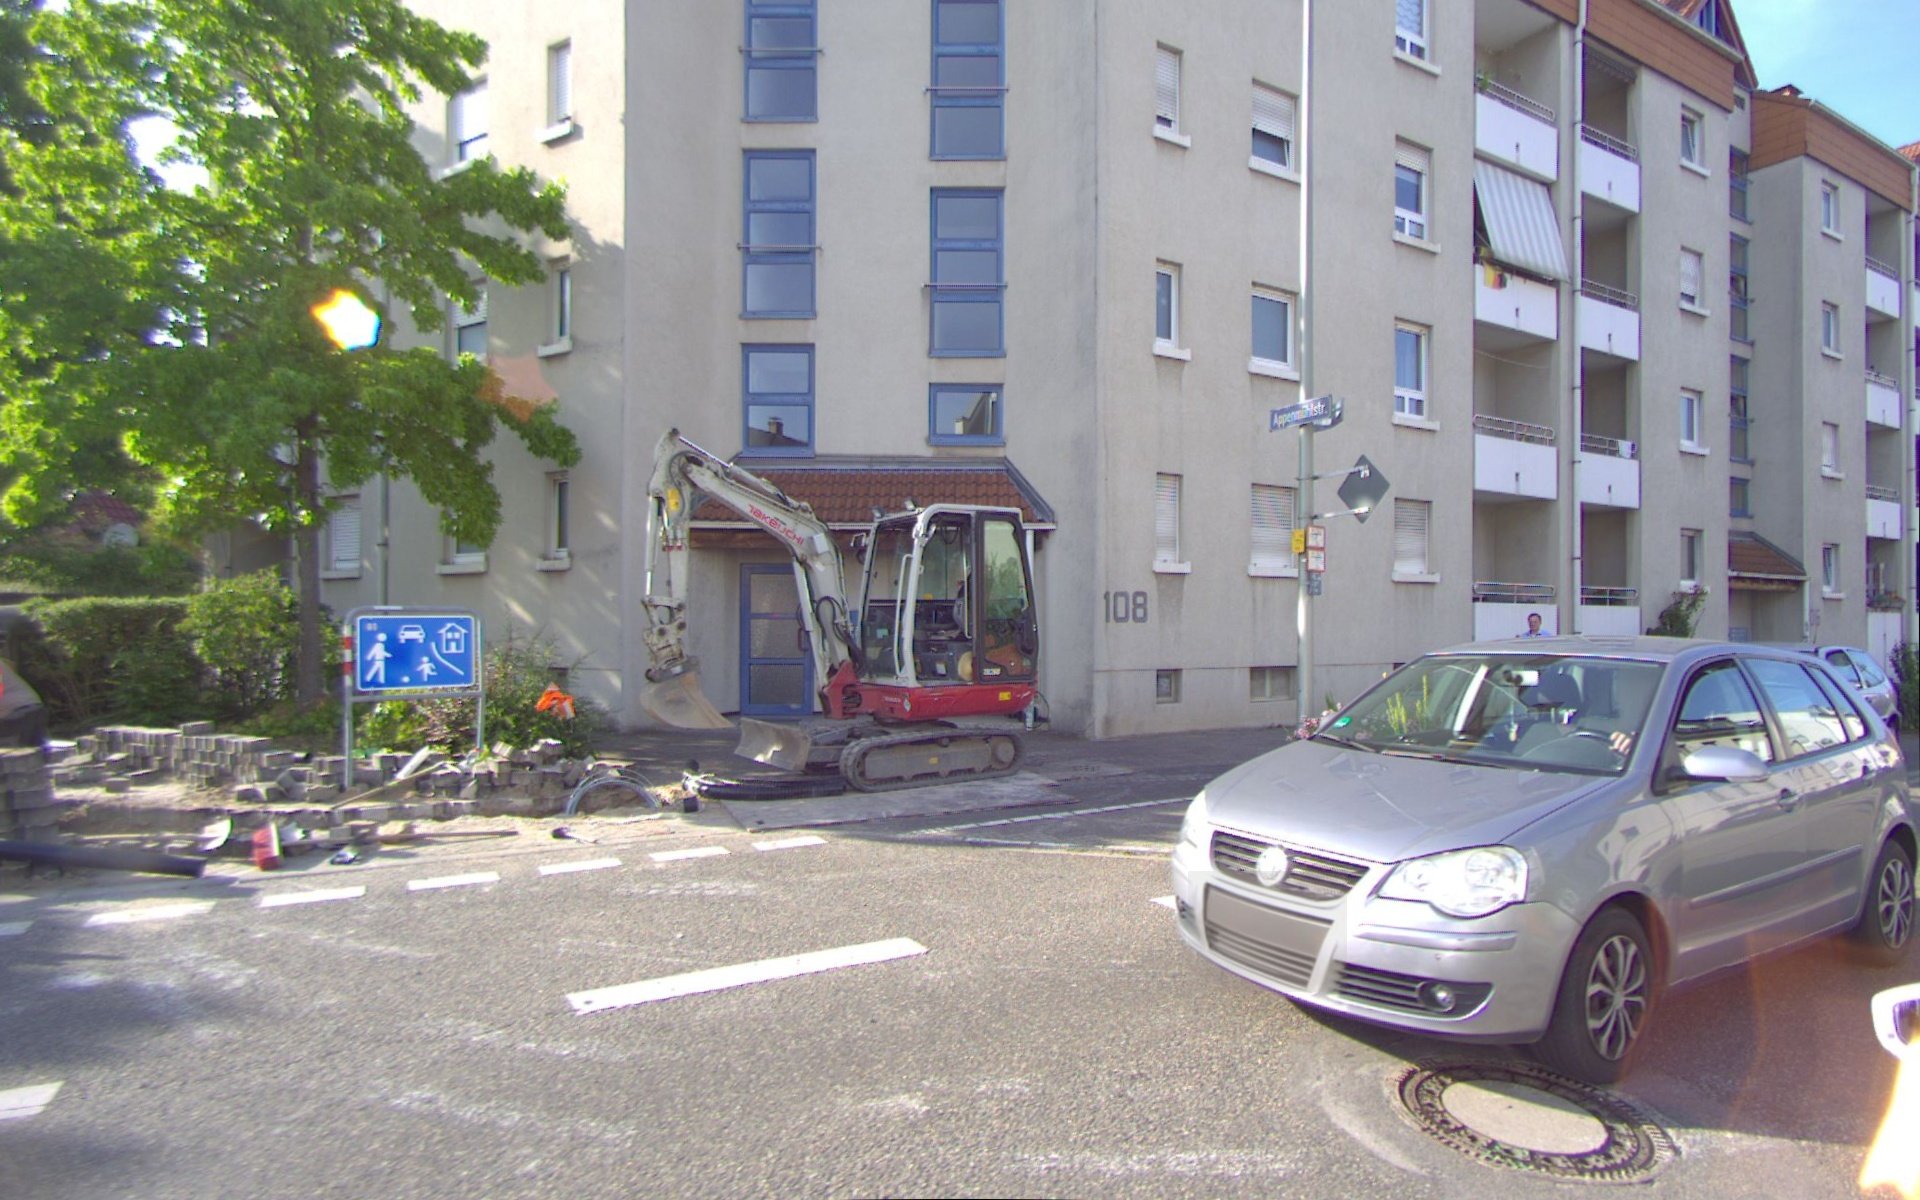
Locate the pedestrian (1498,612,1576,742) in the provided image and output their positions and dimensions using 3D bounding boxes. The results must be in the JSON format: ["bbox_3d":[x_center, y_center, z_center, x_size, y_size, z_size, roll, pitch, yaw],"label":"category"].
[{"bbox_3d":[8.484,1.100,14.779,0.736,1.843,0.715,1,0,-30],"label":"pedestrian"}]

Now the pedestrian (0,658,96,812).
[{"bbox_3d":[-7.129,1.020,7.753,0.590,1.114,0.497,1,0,-30],"label":"pedestrian"}]

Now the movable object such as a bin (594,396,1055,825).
[{"bbox_3d":[-1.163,0.111,9.176,3.856,3.180,1.639,1,-1,-32],"label":"movable object such as a bin"}]

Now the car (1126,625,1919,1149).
[{"bbox_3d":[2.661,0.860,4.491,3.643,1.474,1.609,1,-2,-31],"label":"car"}]

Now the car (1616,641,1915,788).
[{"bbox_3d":[9.434,1.218,11.714,3.630,1.414,1.631,1,-1,-32],"label":"car"}]

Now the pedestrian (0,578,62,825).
[{"bbox_3d":[-6.984,0.683,6.964,0.982,1.686,0.665,1,0,-30],"label":"pedestrian"}]
